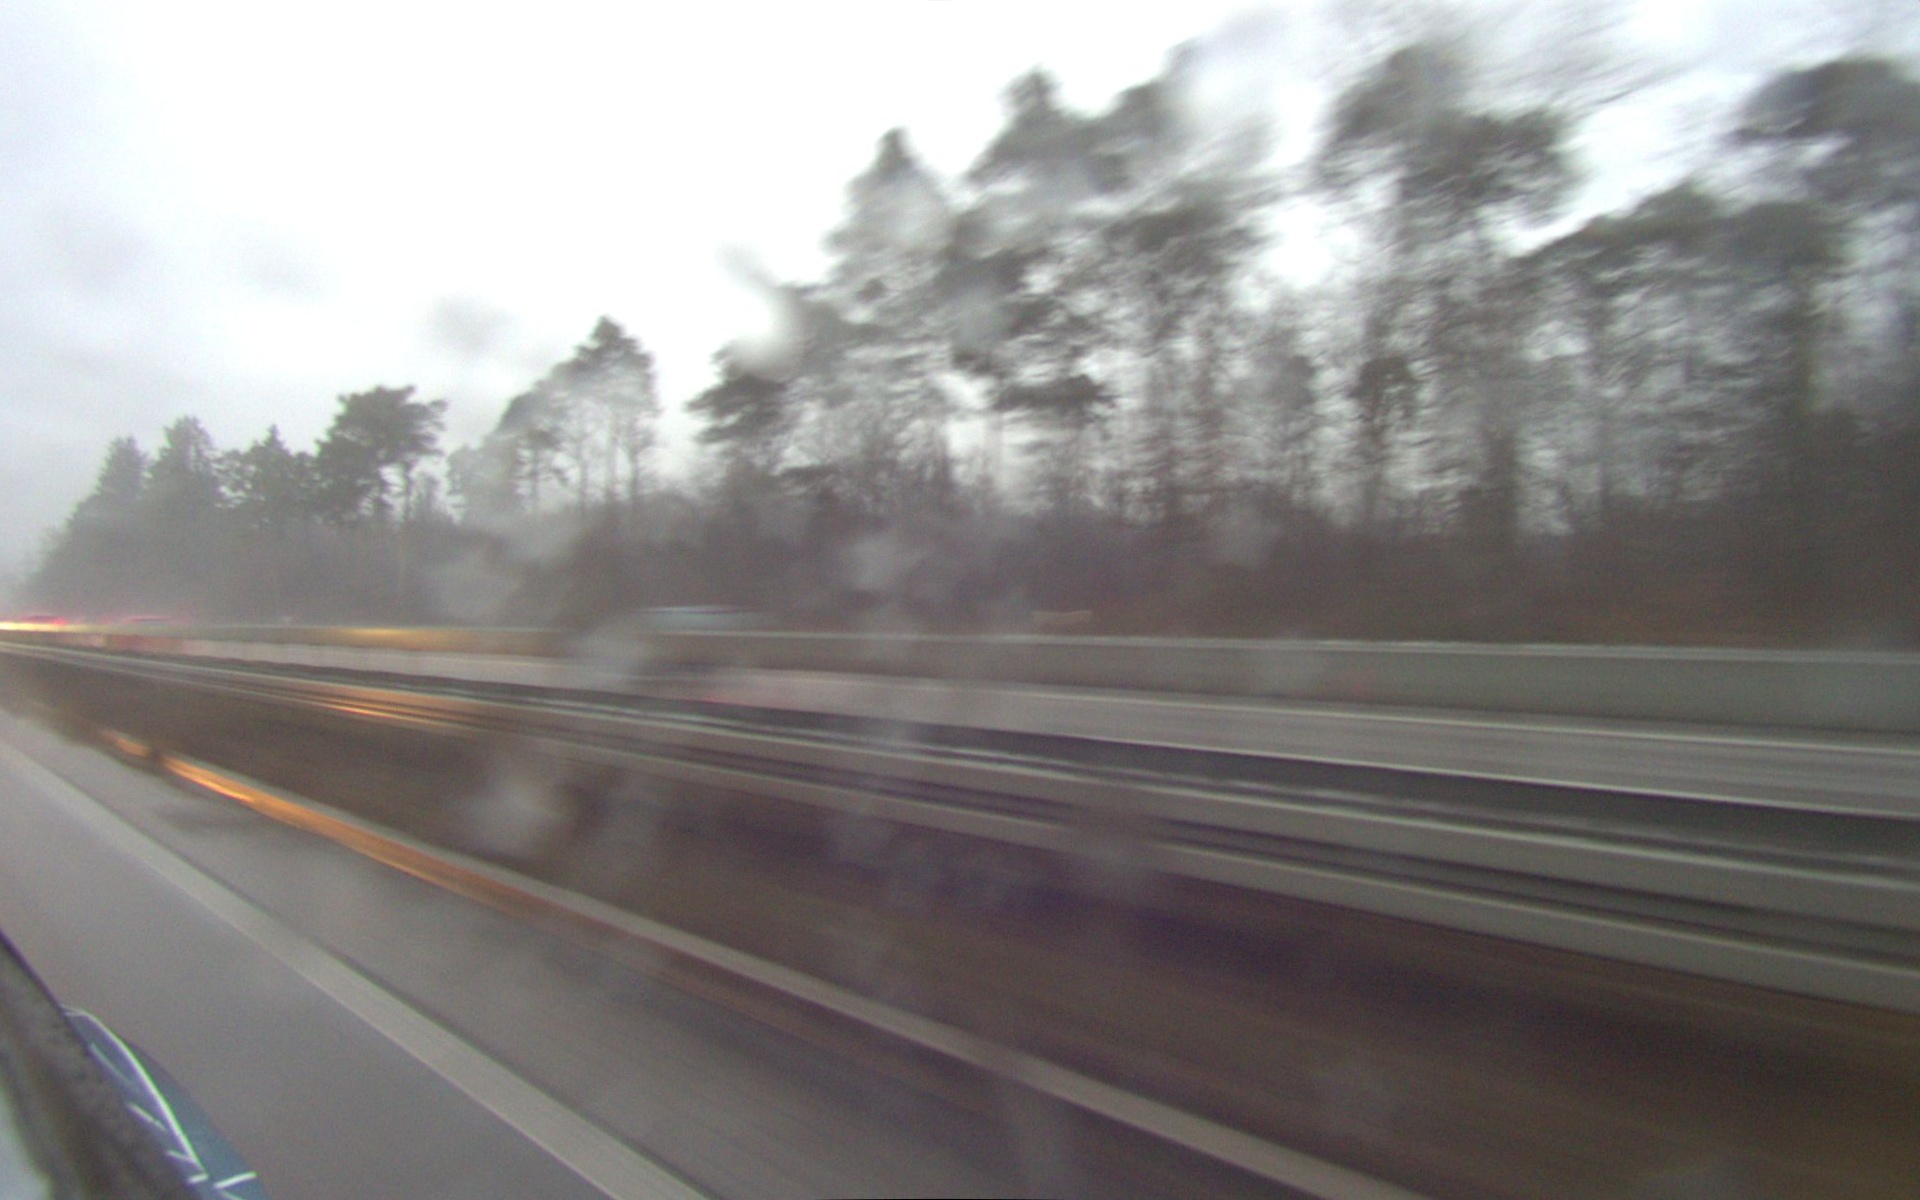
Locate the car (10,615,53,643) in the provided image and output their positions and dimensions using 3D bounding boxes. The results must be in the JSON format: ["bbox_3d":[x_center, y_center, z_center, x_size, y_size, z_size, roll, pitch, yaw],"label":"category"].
[{"bbox_3d":[-53.281,1.651,58.078,3.774,1.540,1.414,-1,-1,41],"label":"car"}]

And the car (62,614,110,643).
[{"bbox_3d":[-58.202,1.896,67.372,4.000,1.820,1.962,-1,-1,43],"label":"car"}]

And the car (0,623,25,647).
[{"bbox_3d":[-67.054,2.434,71.173,3.514,1.619,1.704,-1,-1,43],"label":"car"}]

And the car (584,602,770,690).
[{"bbox_3d":[-5.381,0.811,19.065,3.646,1.491,1.626,-1,-1,41],"label":"car"}]

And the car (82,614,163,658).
[{"bbox_3d":[-31.234,1.316,37.695,4.256,1.505,1.659,-1,-1,41],"label":"car"}]
